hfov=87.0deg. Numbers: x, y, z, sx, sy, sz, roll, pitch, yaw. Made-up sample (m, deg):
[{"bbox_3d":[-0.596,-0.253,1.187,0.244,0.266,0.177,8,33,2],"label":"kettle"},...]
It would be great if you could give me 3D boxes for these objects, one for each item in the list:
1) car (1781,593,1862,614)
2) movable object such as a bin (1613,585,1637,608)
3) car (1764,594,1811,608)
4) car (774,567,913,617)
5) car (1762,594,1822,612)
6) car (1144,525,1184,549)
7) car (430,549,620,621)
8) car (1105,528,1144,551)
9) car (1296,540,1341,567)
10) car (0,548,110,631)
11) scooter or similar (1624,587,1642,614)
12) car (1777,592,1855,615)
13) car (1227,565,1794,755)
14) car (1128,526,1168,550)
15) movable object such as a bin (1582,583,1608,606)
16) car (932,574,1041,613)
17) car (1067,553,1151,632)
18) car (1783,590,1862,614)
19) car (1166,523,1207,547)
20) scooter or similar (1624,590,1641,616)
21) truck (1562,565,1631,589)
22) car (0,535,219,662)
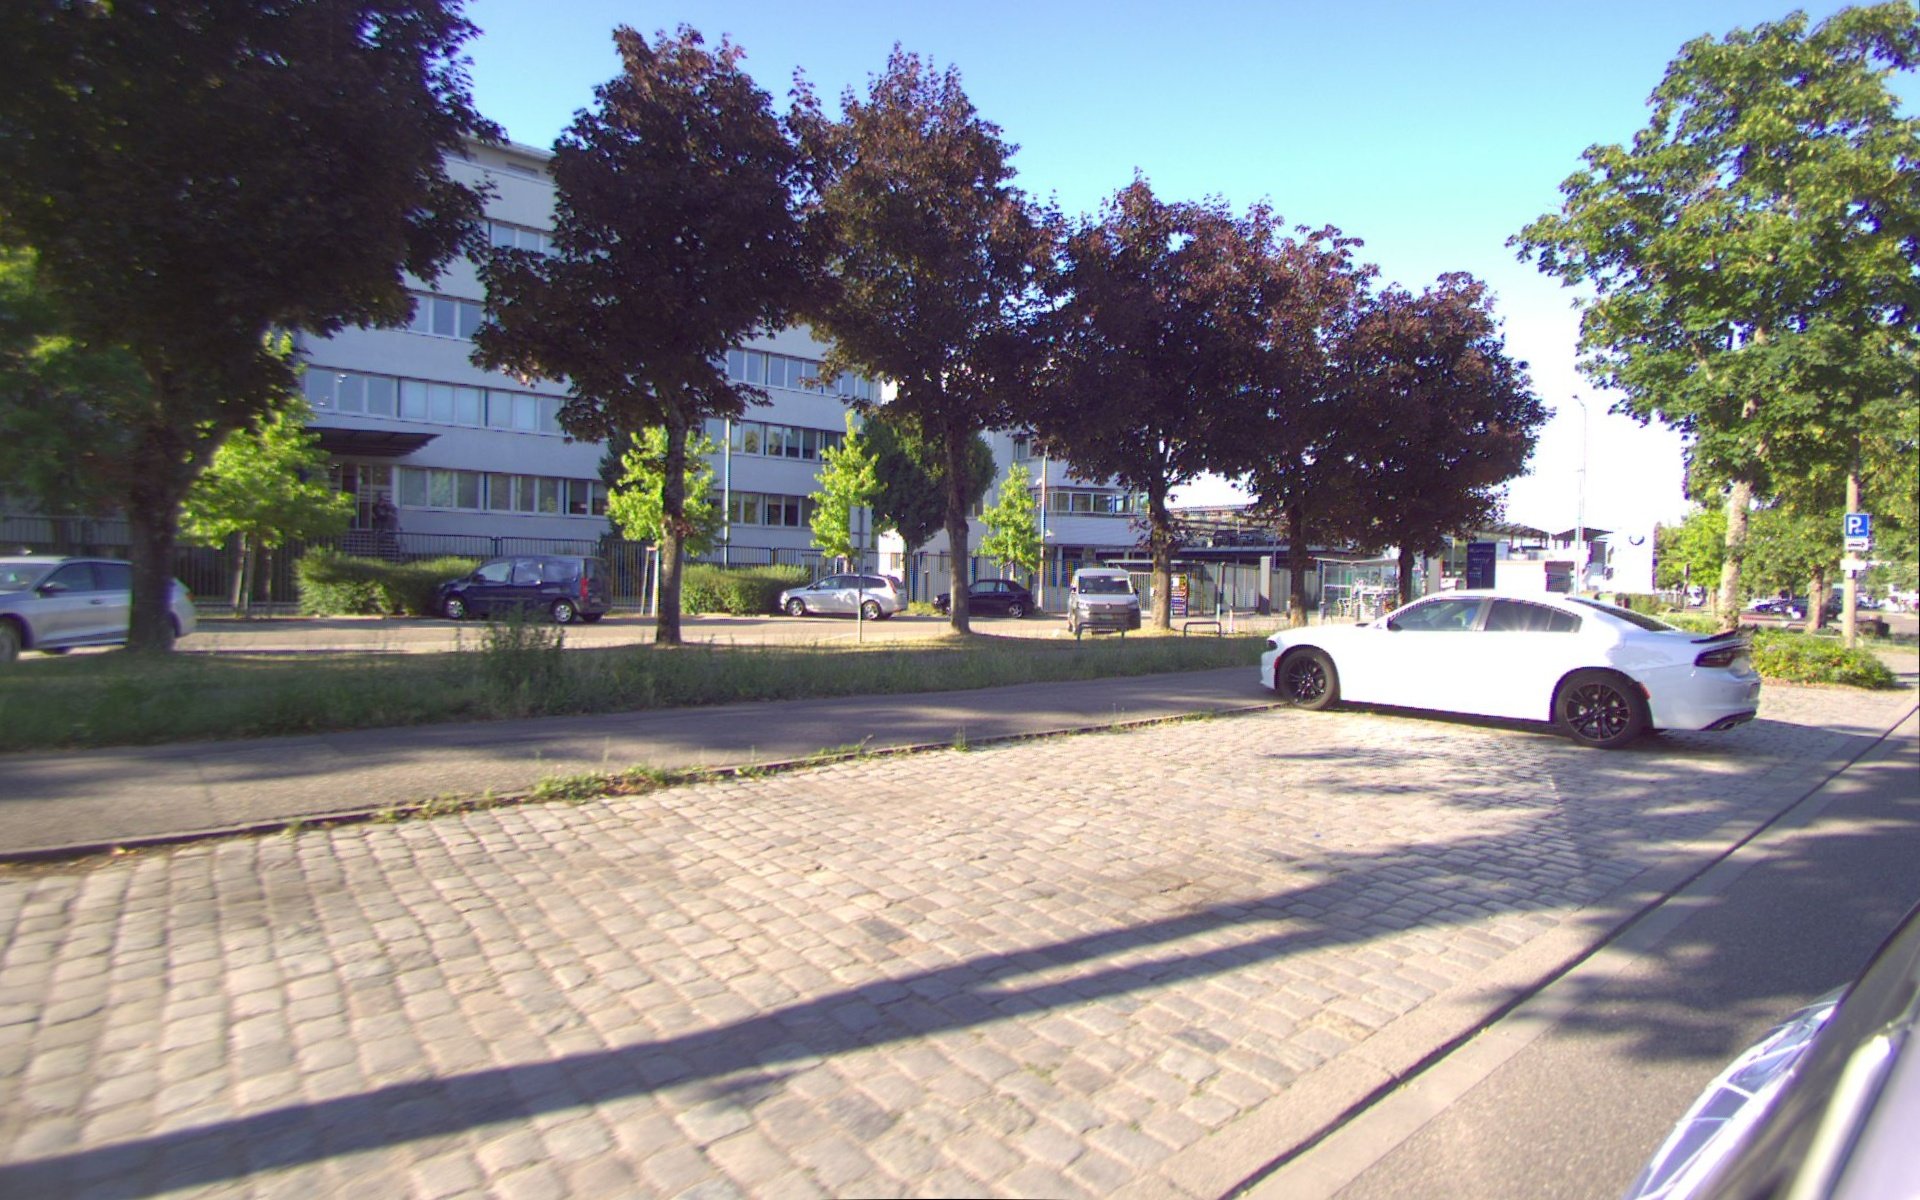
[{"bbox_3d":[64.465,0.254,75.809,4.472,1.421,2.006,2,1,38],"label":"car"},{"bbox_3d":[42.771,-0.221,65.068,1.016,1.434,0.850,1,-1,-20],"label":"movable object such as a bin"},{"bbox_3d":[100.080,0.074,122.510,4.188,1.461,2.061,4,3,36],"label":"car"},{"bbox_3d":[-3.867,-0.286,33.790,4.246,1.547,1.801,1,1,12],"label":"car"},{"bbox_3d":[87.801,0.254,106.869,4.577,1.604,1.975,4,3,35],"label":"car"},{"bbox_3d":[20.900,-6.450,103.575,4.128,2.128,1.997,1,-1,-41],"label":"car"},{"bbox_3d":[-11.723,-0.414,27.394,4.419,1.772,1.764,2,1,8],"label":"car"},{"bbox_3d":[17.475,-6.406,107.439,4.128,2.128,1.997,1,-1,-41],"label":"car"},{"bbox_3d":[31.881,-4.138,90.051,4.128,2.128,1.997,1,-1,-41],"label":"car"},{"bbox_3d":[-19.778,-0.270,20.390,4.235,1.546,1.762,2,1,10],"label":"car"},{"bbox_3d":[33.510,0.033,50.366,0.519,1.288,1.366,2,1,42],"label":"scooter or similar"},{"bbox_3d":[65.678,0.261,77.738,4.475,1.570,2.005,2,1,39],"label":"car"},{"bbox_3d":[5.846,0.455,11.348,2.122,1.593,5.181,0,2,-43],"label":"car"},{"bbox_3d":[19.562,-6.428,105.418,4.128,2.128,1.997,1,-1,-41],"label":"car"},{"bbox_3d":[41.713,-0.376,66.457,1.211,1.502,1.021,2,1,45],"label":"movable object such as a bin"},{"bbox_3d":[1.050,-0.267,38.214,3.933,1.371,1.803,1,1,8],"label":"car"},{"bbox_3d":[4.021,-0.198,28.004,1.965,1.958,4.947,1,0,5],"label":"car"},{"bbox_3d":[68.195,0.143,80.040,4.693,1.773,2.158,2,1,42],"label":"car"},{"bbox_3d":[22.694,-6.476,101.372,4.128,2.128,1.997,1,-1,-41],"label":"car"},{"bbox_3d":[34.286,0.140,51.599,0.519,1.288,1.182,2,1,42],"label":"scooter or similar"},{"bbox_3d":[107.032,-3.904,170.461,3.226,3.689,10.144,1,2,-17],"label":"truck"},{"bbox_3d":[-13.103,-0.073,14.170,1.961,1.593,4.957,1,1,-2],"label":"car"}]
